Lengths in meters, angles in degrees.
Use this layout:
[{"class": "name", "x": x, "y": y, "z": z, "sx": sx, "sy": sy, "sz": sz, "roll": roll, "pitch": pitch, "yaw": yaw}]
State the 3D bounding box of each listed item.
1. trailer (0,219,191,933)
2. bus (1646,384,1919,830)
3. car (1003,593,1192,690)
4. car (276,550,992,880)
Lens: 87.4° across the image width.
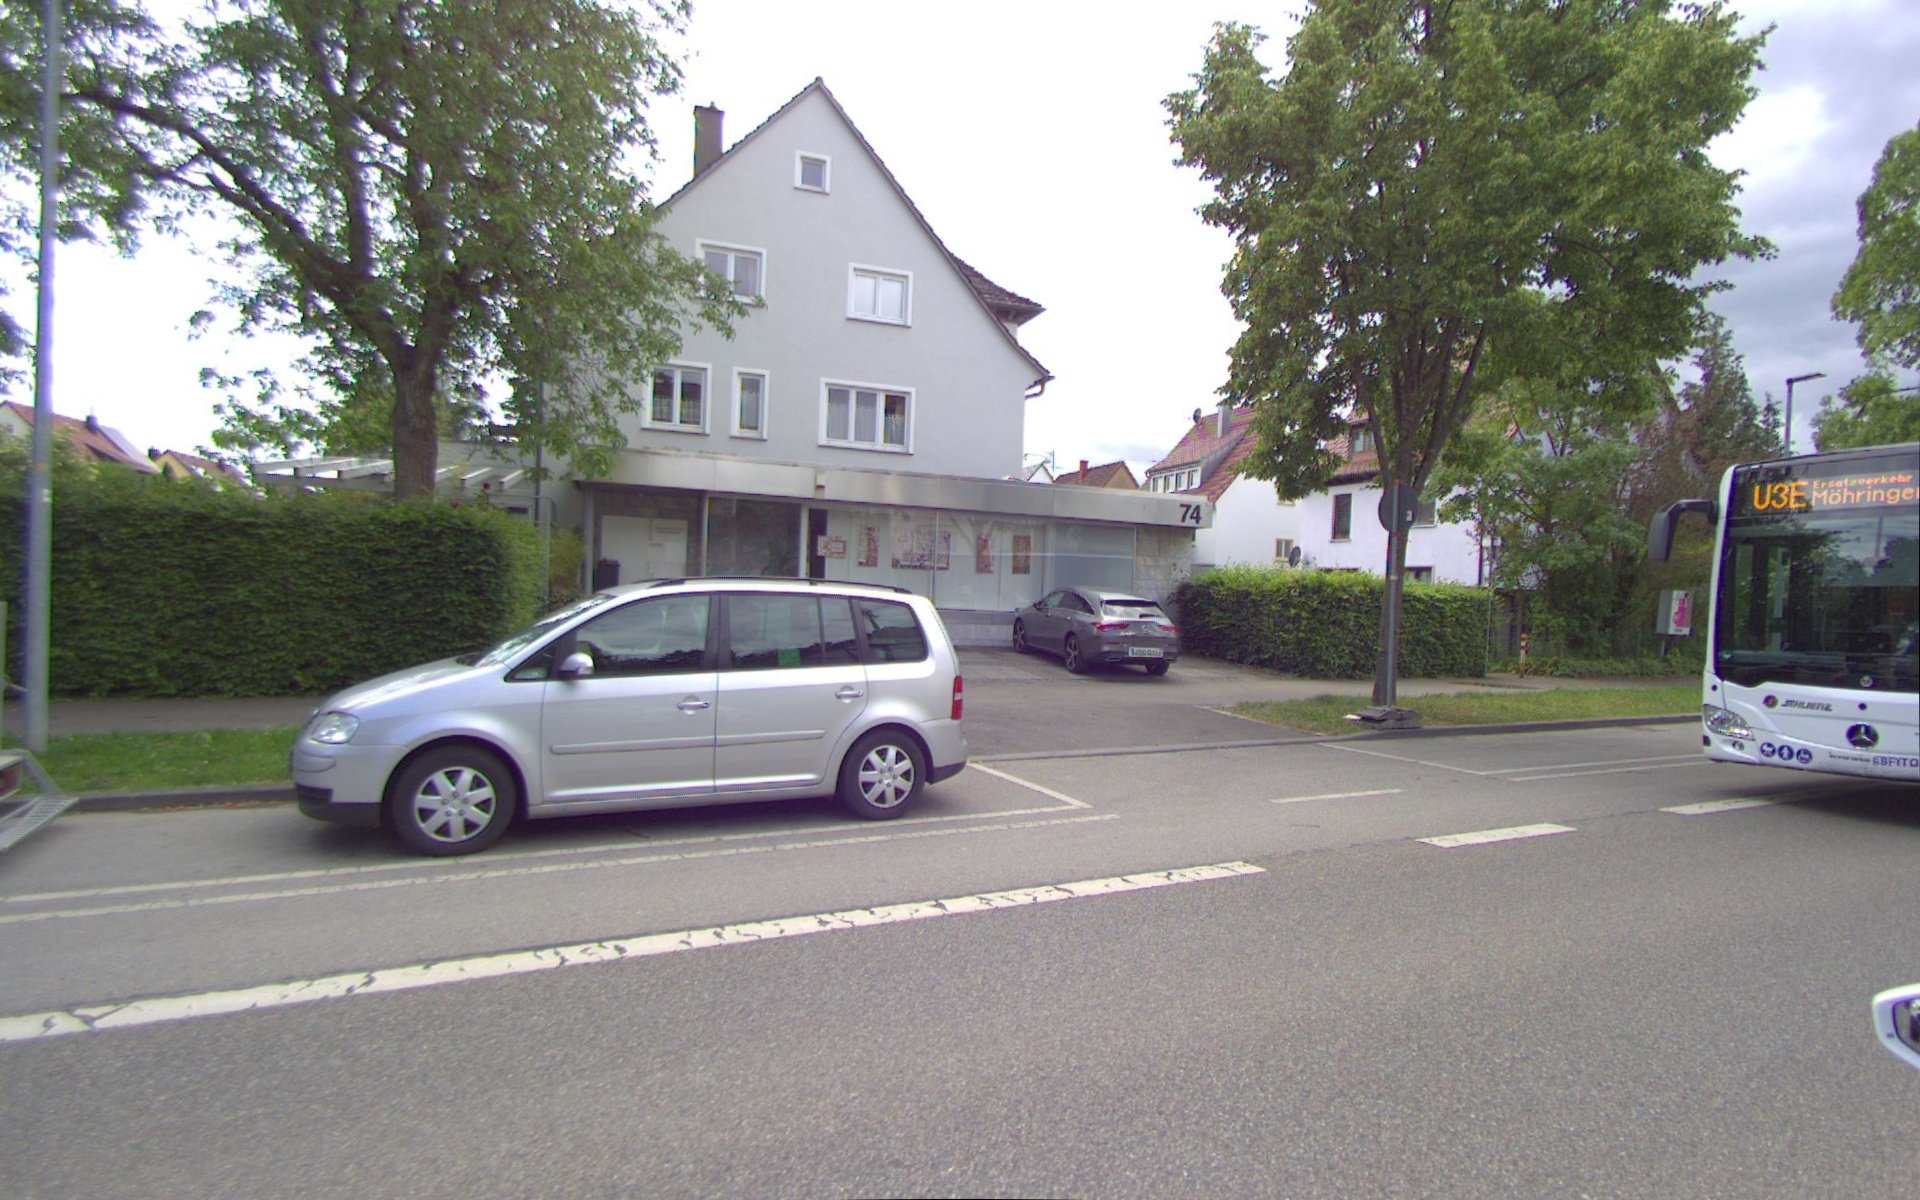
[{"class": "trailer", "x": -7.631, "y": -0.180, "z": 3.902, "sx": 6.911, "sy": 3.002, "sz": 2.366, "roll": 2, "pitch": 0, "yaw": -24}, {"class": "bus", "x": 14.806, "y": 0.357, "z": 12.151, "sx": 17.821, "sy": 3.332, "sz": 2.793, "roll": 2, "pitch": 0, "yaw": -28}, {"class": "car", "x": 2.375, "y": 0.673, "z": 18.449, "sx": 1.773, "sy": 1.452, "sz": 4.074, "roll": 1, "pitch": 2, "yaw": -19}, {"class": "car", "x": -2.025, "y": 0.656, "z": 6.898, "sx": 4.172, "sy": 1.706, "sz": 1.682, "roll": 2, "pitch": 0, "yaw": -27}]
